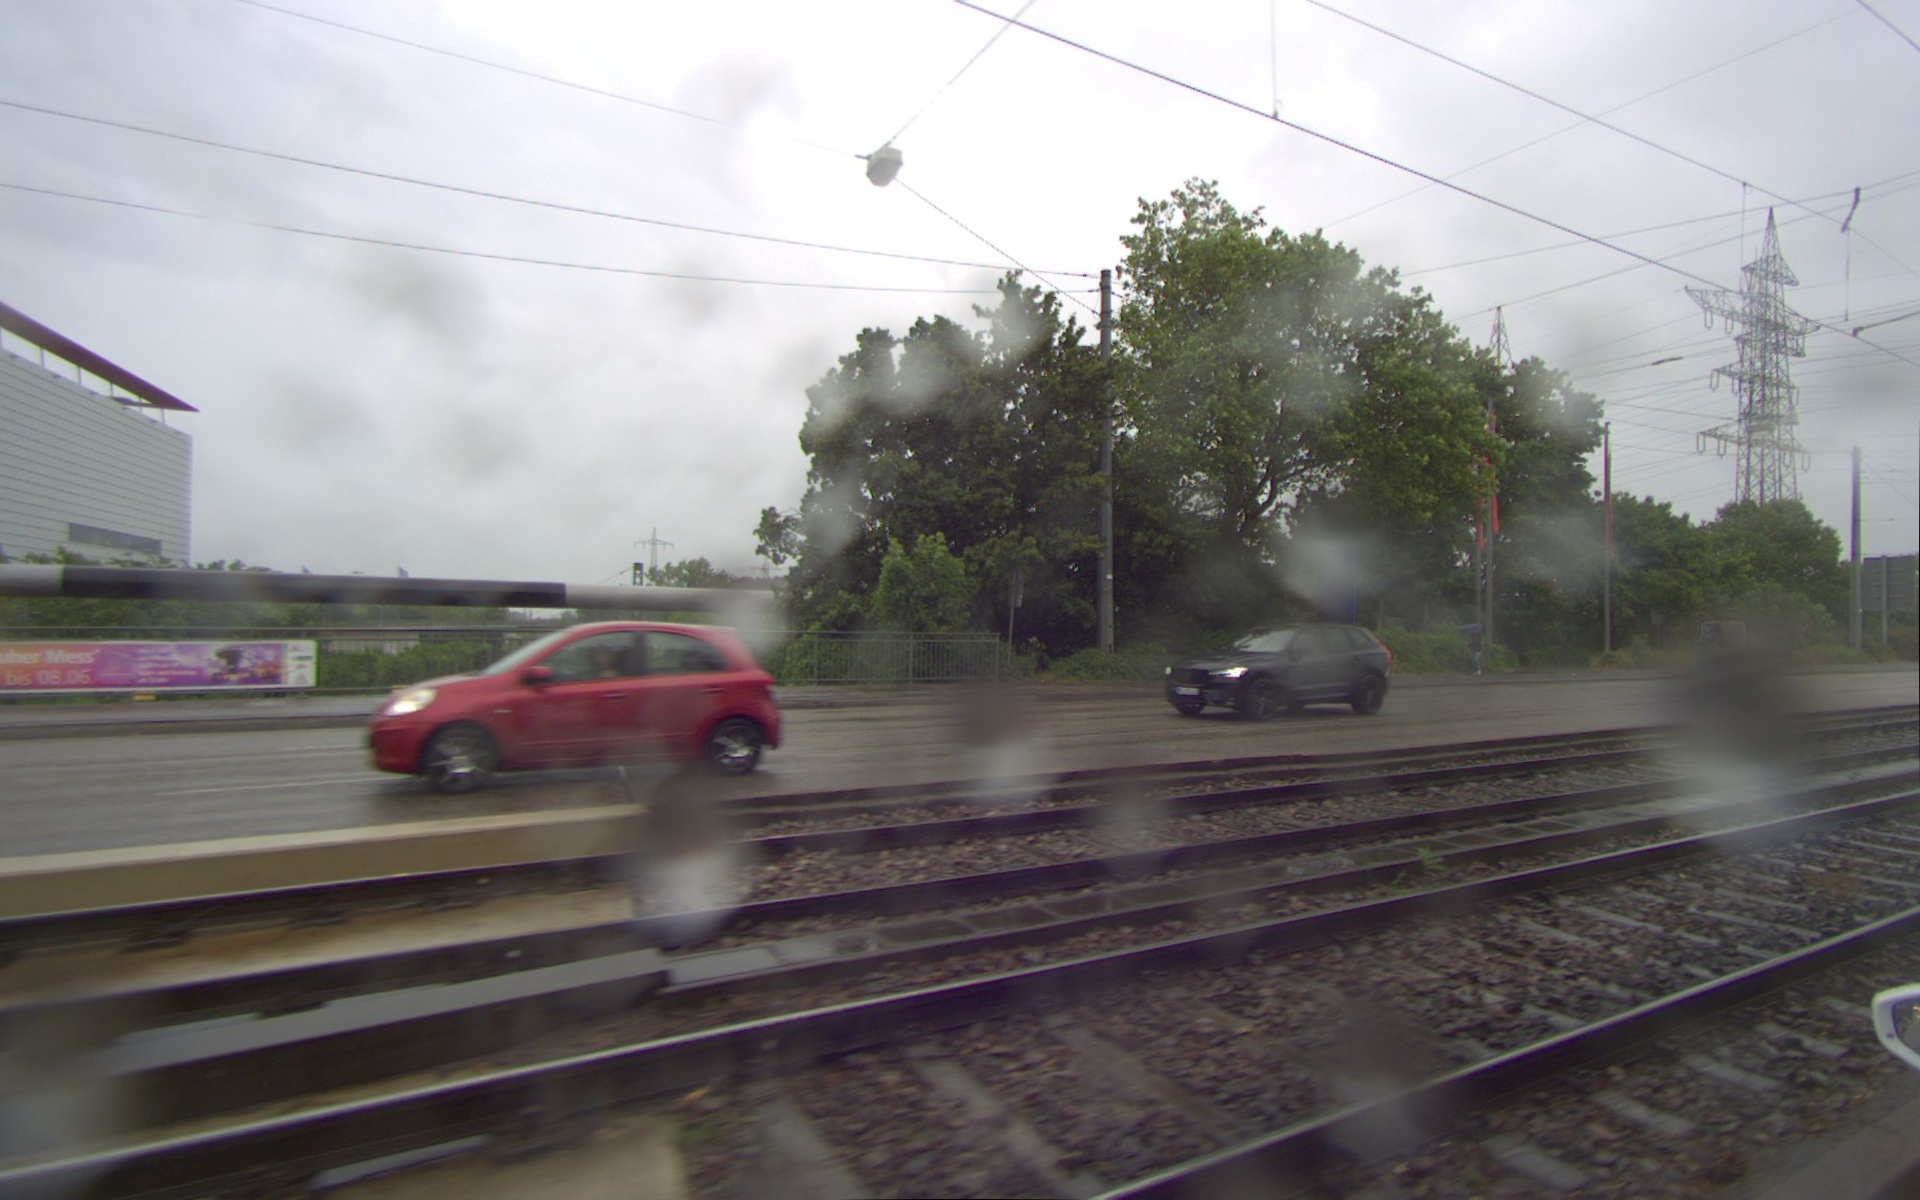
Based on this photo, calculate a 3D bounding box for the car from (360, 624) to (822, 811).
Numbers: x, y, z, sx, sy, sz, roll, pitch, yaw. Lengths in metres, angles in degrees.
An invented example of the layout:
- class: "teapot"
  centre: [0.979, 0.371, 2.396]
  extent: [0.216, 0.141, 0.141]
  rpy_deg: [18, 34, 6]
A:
- class: "car"
  centre: [-3.511, 1.009, 9.848]
  extent: [3.963, 1.505, 1.650]
  rpy_deg: [1, -1, -29]

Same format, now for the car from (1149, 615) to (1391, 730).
- class: "car"
  centre: [5.569, 1.223, 18.011]
  extent: [3.951, 1.840, 1.985]
  rpy_deg: [1, -1, -29]
